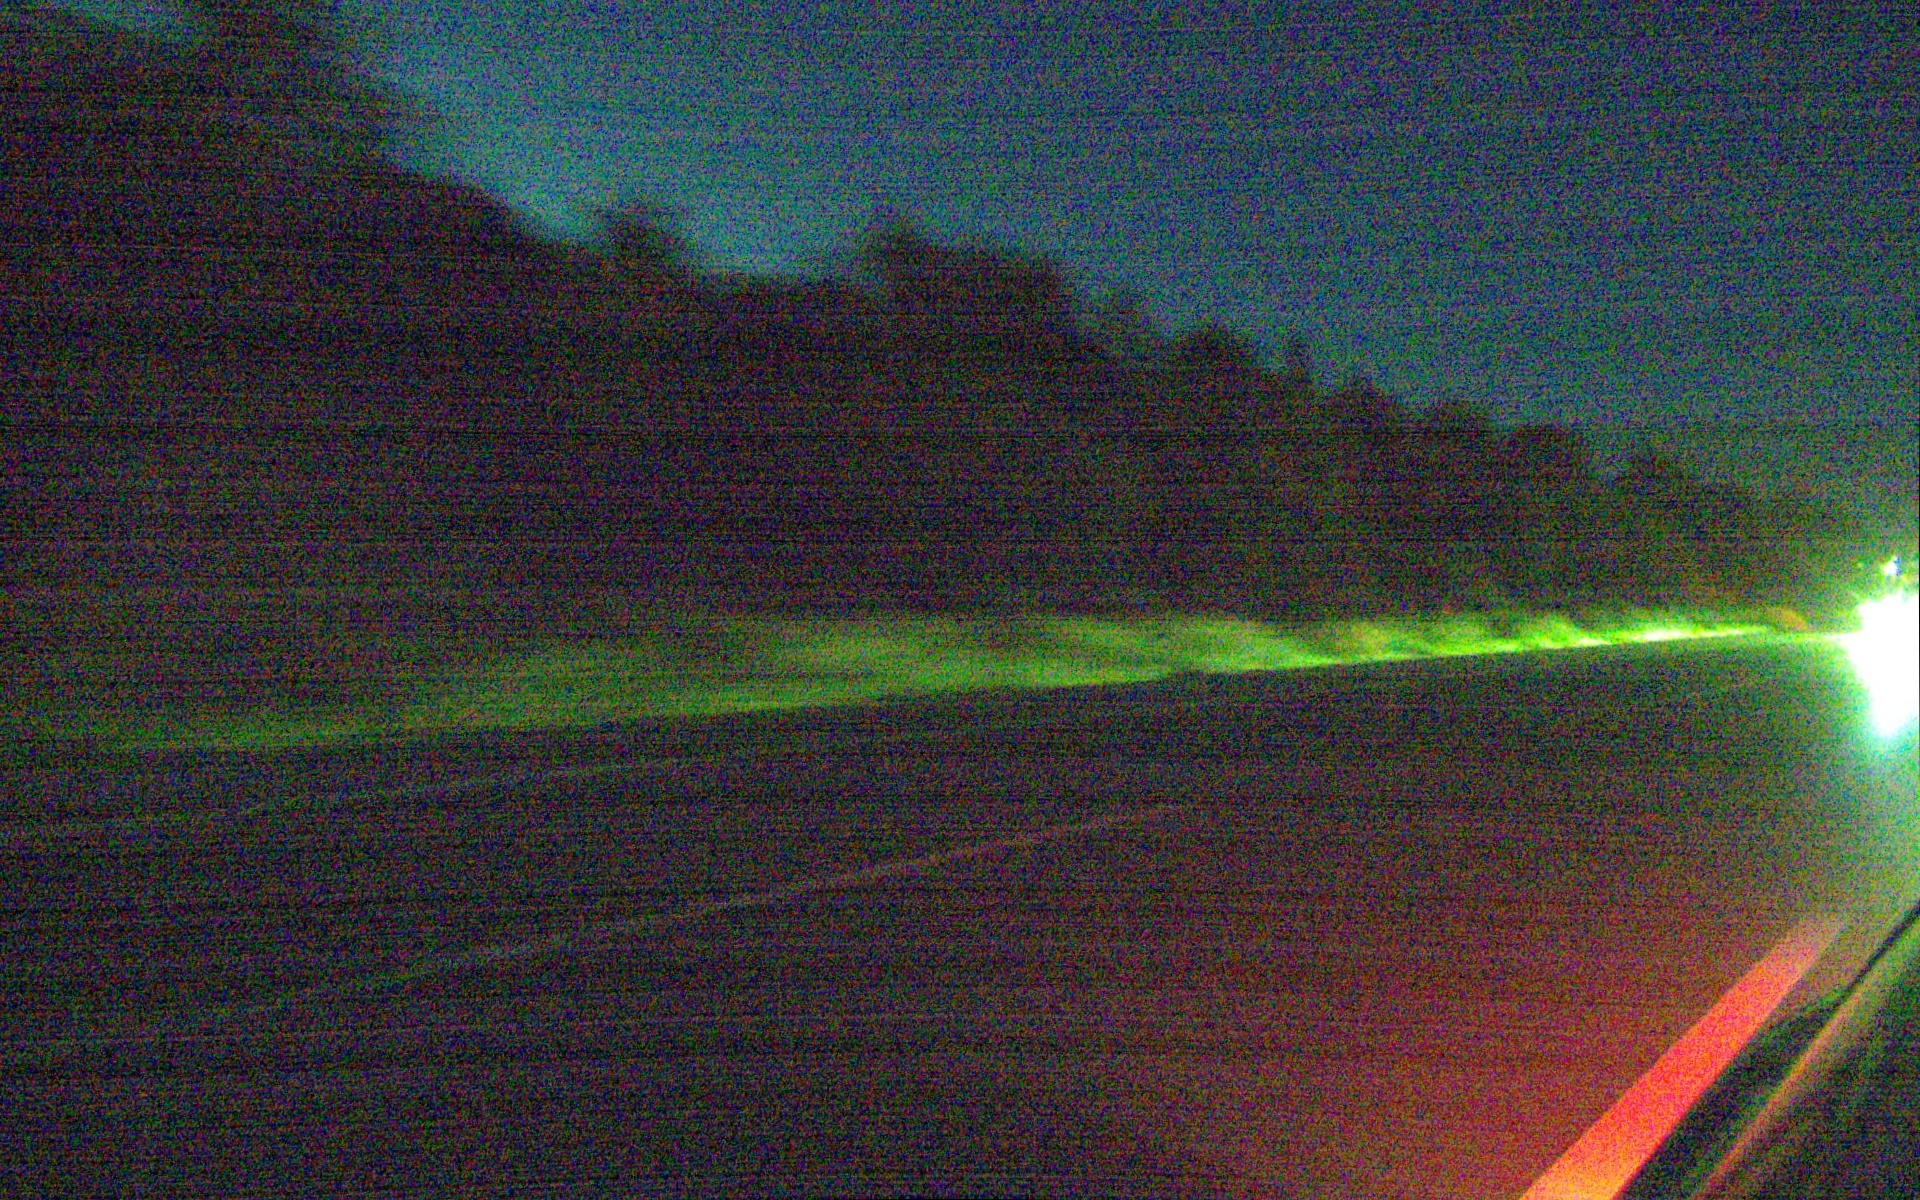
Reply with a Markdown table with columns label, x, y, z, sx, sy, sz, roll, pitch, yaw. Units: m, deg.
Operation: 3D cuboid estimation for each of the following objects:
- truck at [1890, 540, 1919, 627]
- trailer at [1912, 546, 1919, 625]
| label | x | y | z | sx | sy | sz | roll | pitch | yaw |
| --- | --- | --- | --- | --- | --- | --- | --- | --- | --- |
| truck | 48.636 | -0.764 | 50.244 | 7.535 | 4.124 | 2.596 | 1 | -1 | -39 |
| trailer | 54.347 | -0.720 | 54.983 | 9.828 | 4.124 | 2.596 | 1 | -1 | -39 |
